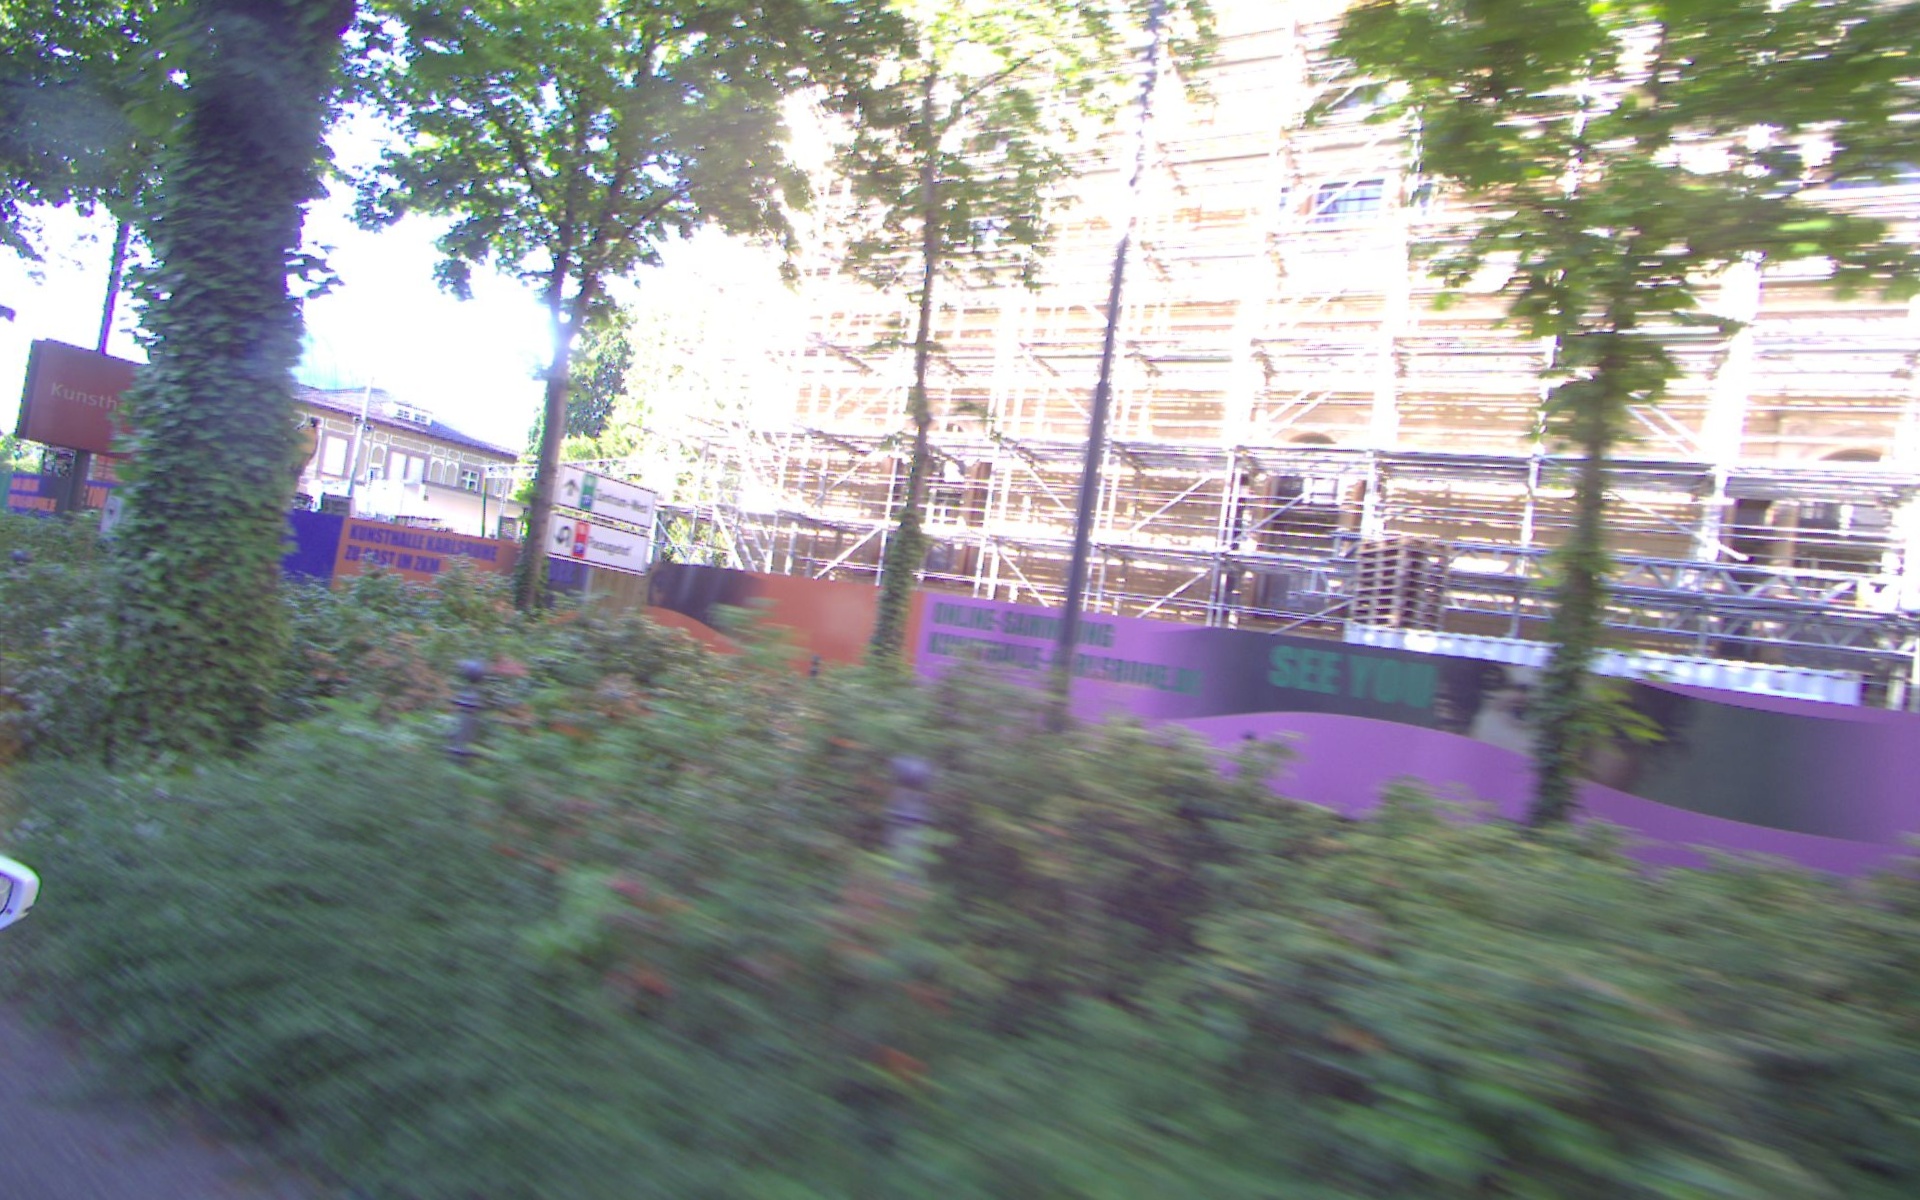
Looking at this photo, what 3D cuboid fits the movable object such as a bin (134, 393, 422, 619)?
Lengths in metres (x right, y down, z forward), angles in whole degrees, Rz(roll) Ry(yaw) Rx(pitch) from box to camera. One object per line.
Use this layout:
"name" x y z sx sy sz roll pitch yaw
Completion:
"movable object such as a bin" -17.395 -2.363 25.441 7.786 4.591 3.309 7 -2 38
